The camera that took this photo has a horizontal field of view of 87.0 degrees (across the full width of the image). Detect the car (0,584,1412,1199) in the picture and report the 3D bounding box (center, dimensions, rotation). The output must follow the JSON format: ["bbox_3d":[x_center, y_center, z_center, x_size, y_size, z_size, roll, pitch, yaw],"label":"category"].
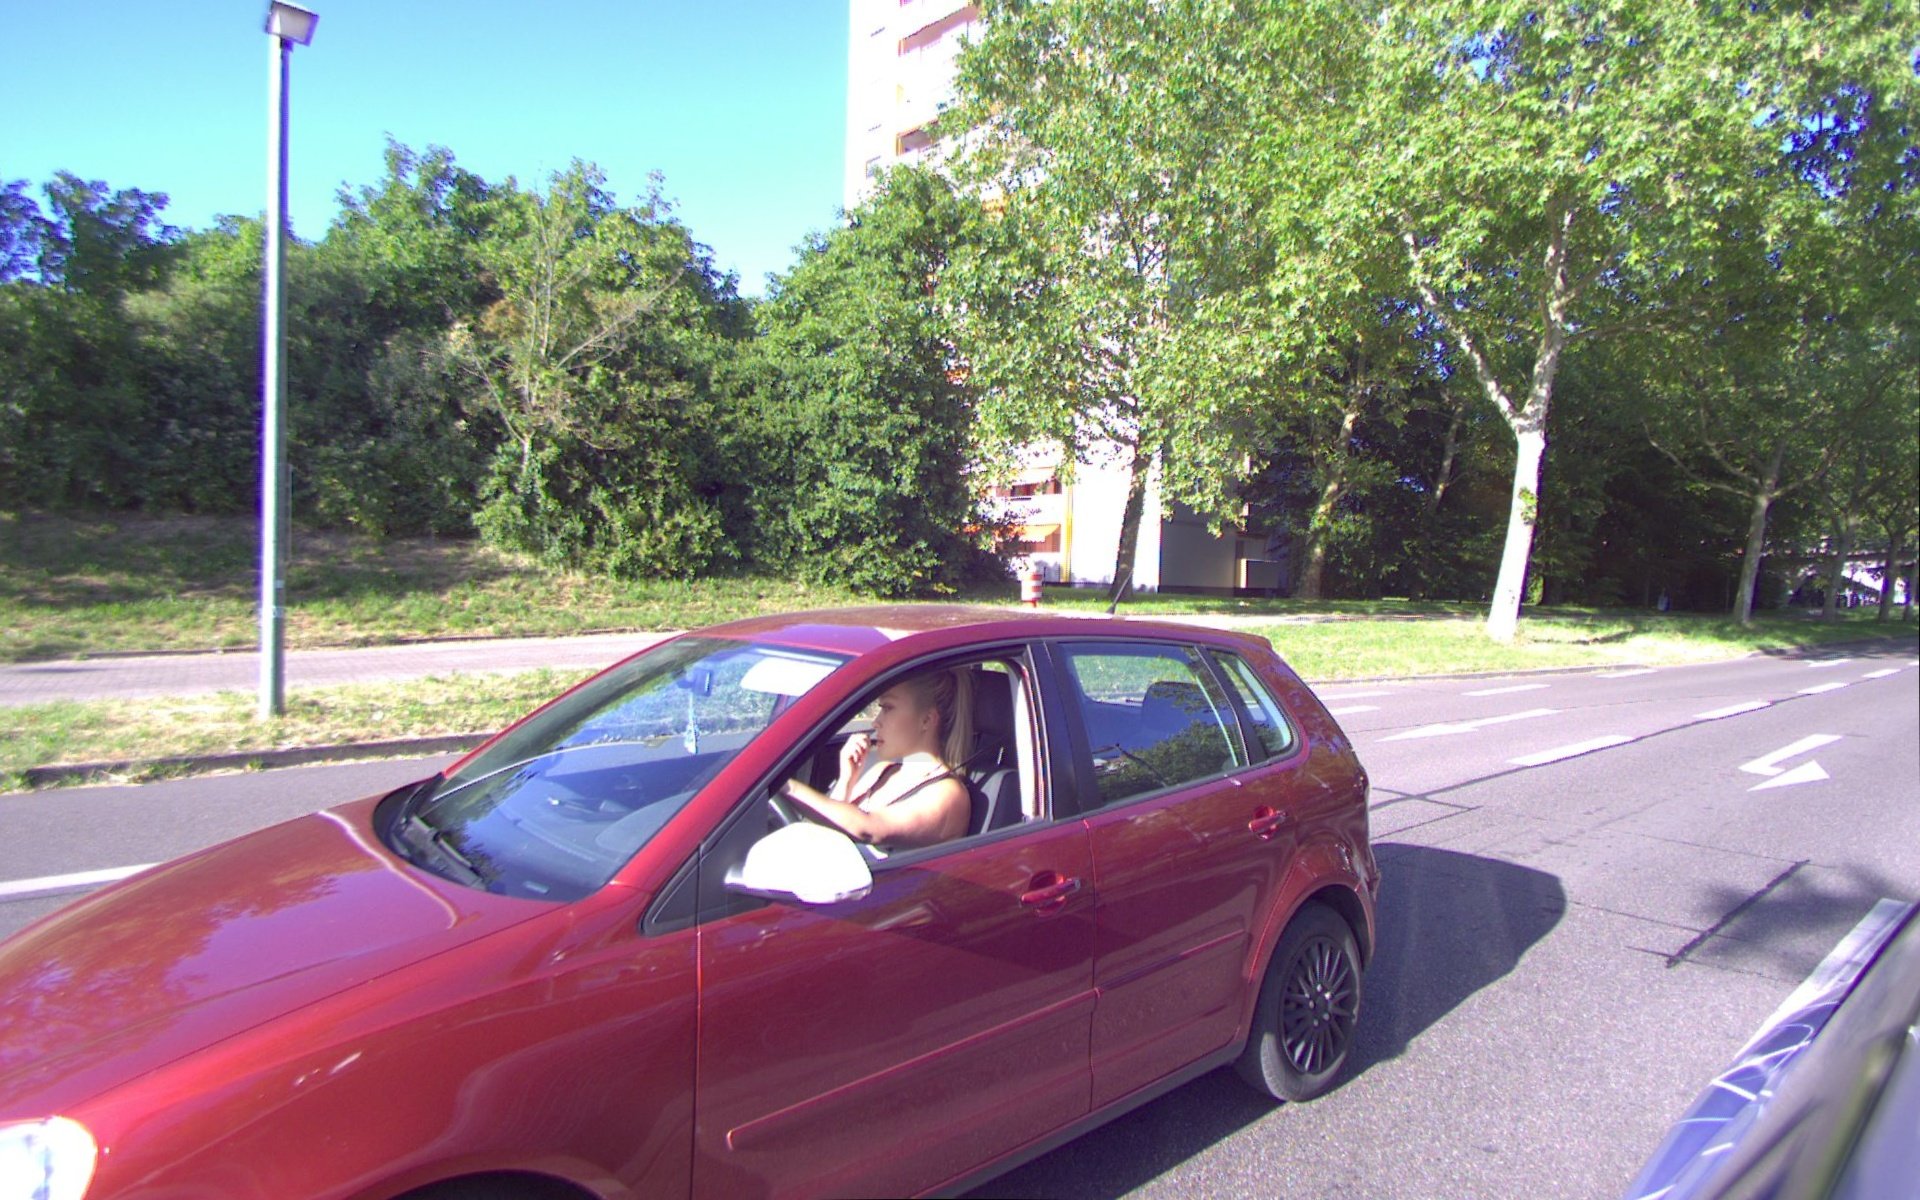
[{"bbox_3d":[-0.467,0.695,2.758,3.627,1.434,1.626,0,1,-39],"label":"car"}]
